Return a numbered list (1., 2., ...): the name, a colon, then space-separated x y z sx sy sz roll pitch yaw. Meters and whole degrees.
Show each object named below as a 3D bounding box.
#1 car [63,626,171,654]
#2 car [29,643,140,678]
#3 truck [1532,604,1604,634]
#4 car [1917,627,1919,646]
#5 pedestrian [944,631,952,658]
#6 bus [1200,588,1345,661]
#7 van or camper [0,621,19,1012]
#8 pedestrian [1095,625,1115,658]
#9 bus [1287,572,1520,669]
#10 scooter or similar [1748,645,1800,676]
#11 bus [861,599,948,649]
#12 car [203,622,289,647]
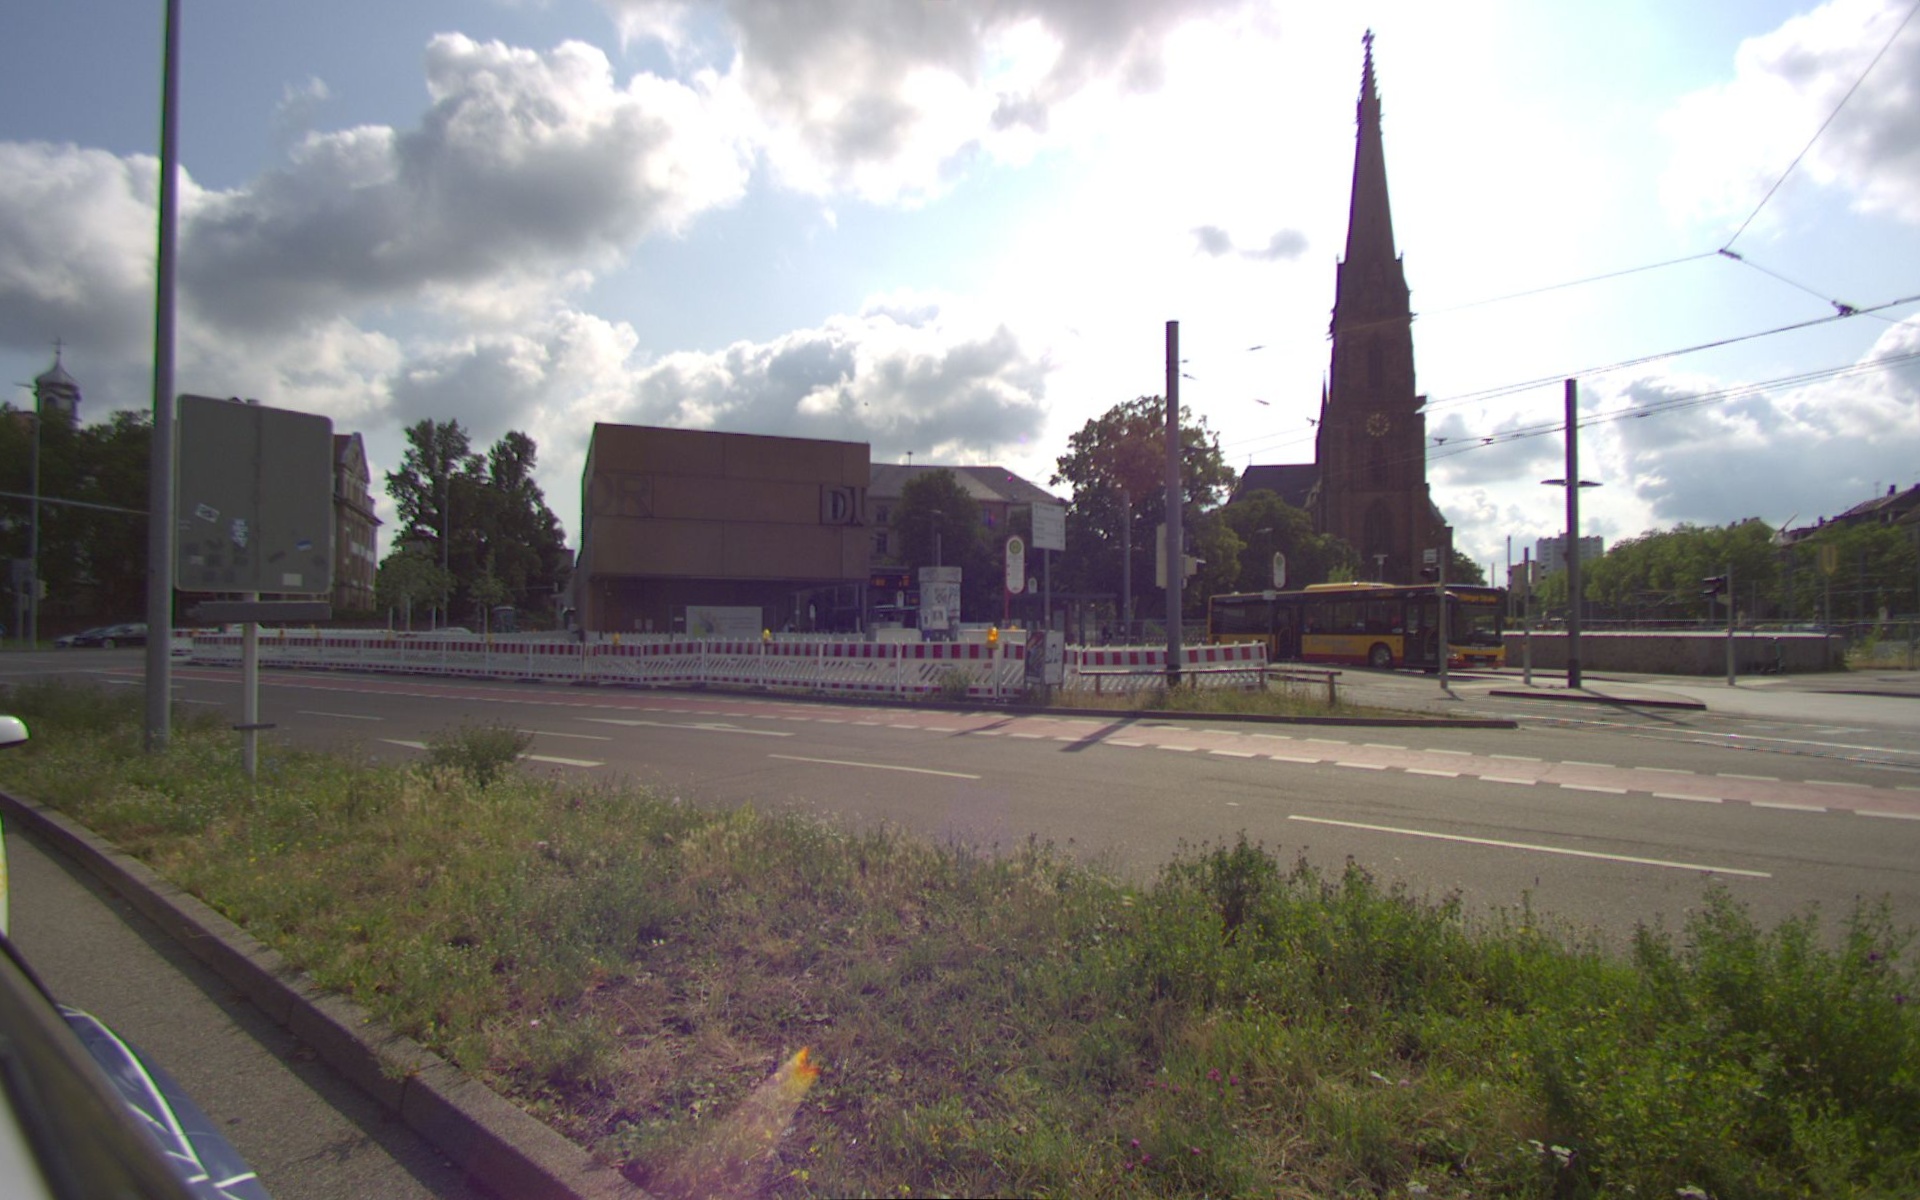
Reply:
1. car: -43.819 2.070 52.716 1.741 1.401 4.115 0 -2 11
2. car: -49.149 3.346 56.906 1.986 1.696 4.311 -1 0 22
3. truck: 77.199 2.435 128.635 7.389 3.676 2.456 -1 -2 19
4. car: 85.790 3.247 88.505 1.766 1.674 3.966 -1 0 25
5. pedestrian: -0.696 2.663 60.717 0.352 1.614 0.365 1 -1 -28
6. bus: 11.924 0.957 39.033 2.654 2.607 5.094 1 -2 -23
7. van or camper: -5.366 0.811 4.354 4.000 1.487 1.605 -1 -3 43
8. pedestrian: 7.252 2.056 50.610 0.654 1.617 0.740 2 -2 -42
9. bus: 14.307 0.710 33.380 2.653 2.855 7.123 1 -2 -23
10. scooter or similar: 25.894 1.907 32.187 1.635 0.957 0.475 1 -2 -20
11. bus: -4.559 1.917 78.617 2.913 3.534 12.293 1 -2 -22
12. car: -42.333 2.050 60.112 1.741 1.401 4.115 0 -2 11
